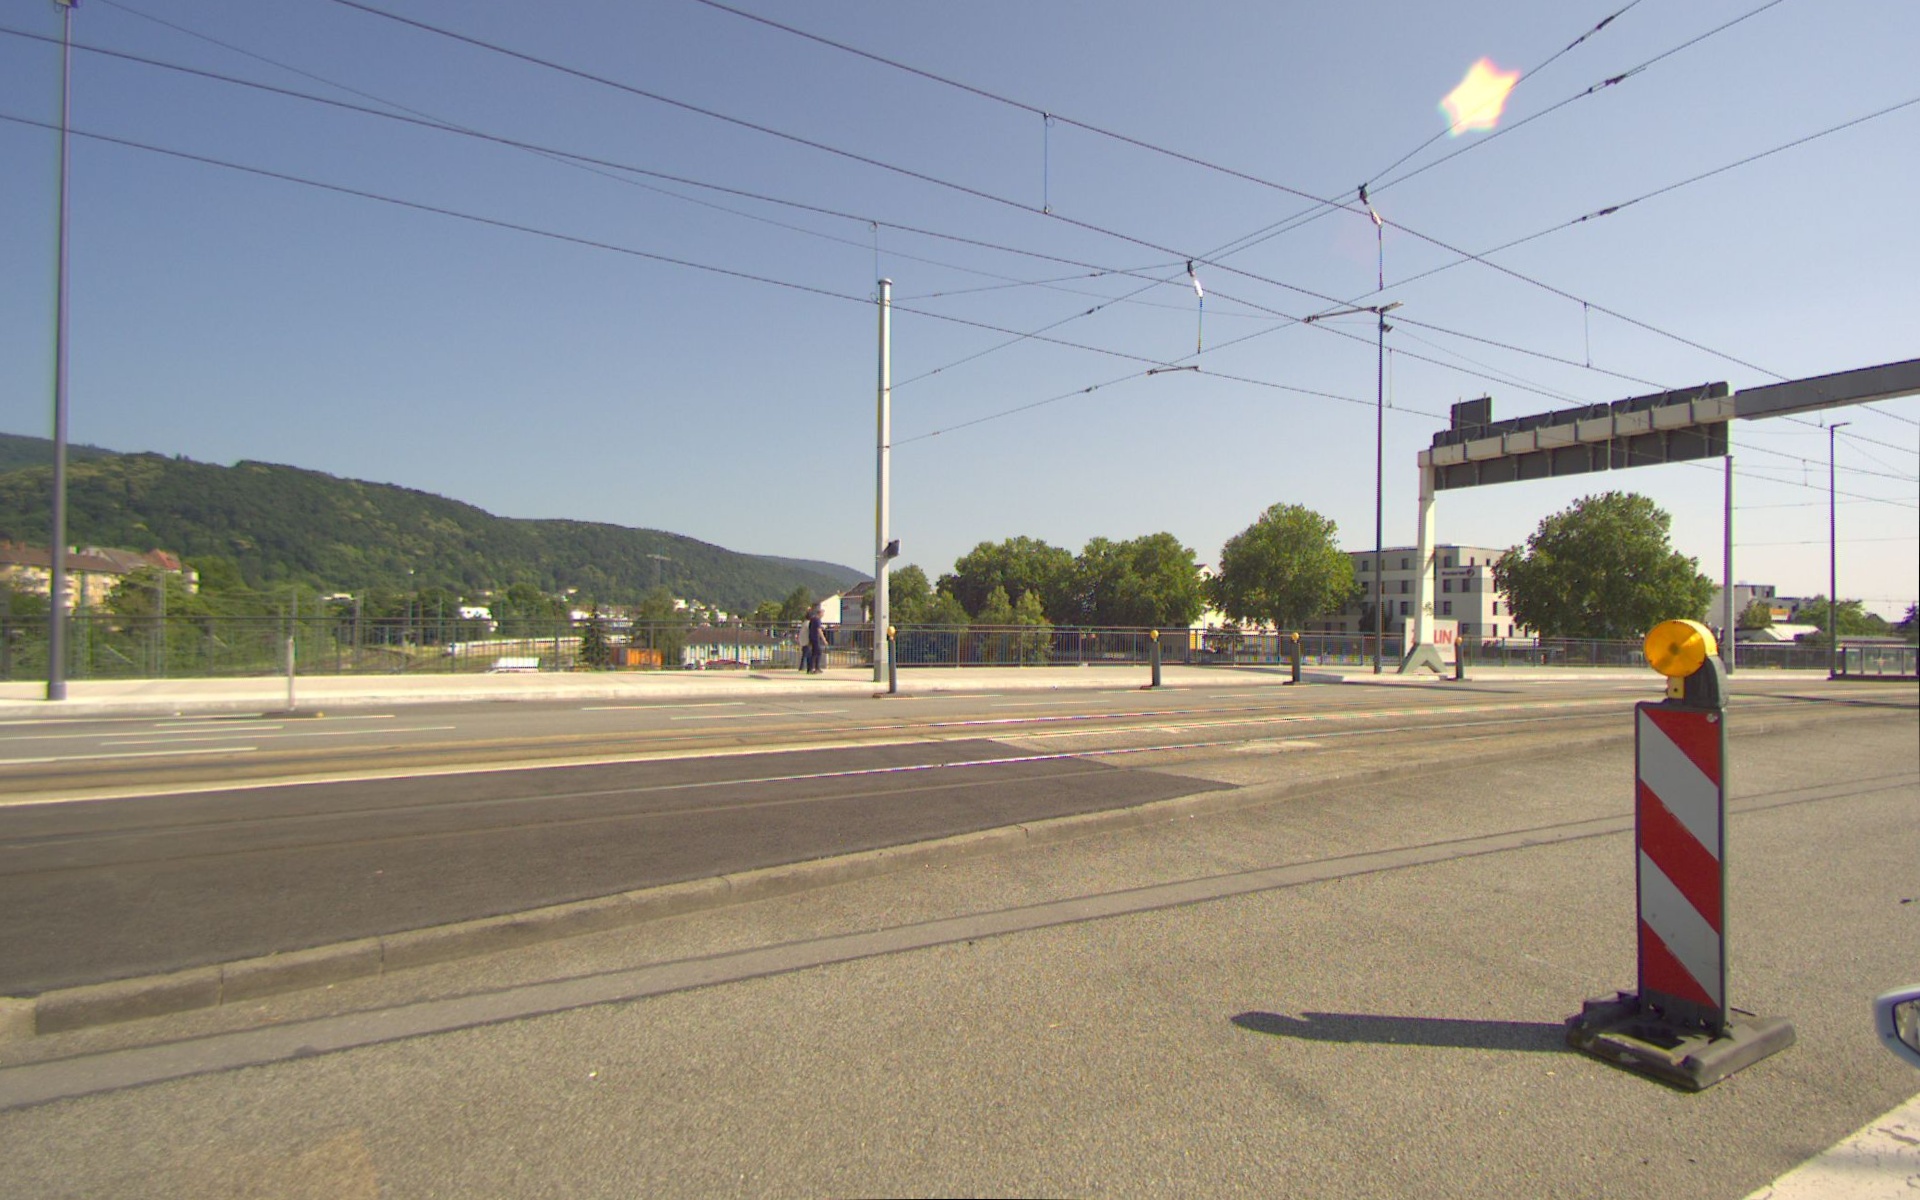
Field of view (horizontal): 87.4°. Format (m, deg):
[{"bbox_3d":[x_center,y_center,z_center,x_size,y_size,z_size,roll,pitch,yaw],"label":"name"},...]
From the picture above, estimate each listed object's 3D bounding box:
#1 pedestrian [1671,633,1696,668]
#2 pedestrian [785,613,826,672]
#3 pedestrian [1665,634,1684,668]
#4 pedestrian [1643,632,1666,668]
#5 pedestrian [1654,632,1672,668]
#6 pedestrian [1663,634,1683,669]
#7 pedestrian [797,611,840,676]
[{"bbox_3d":[35.368,2.462,49.094,0.722,1.709,0.750,1,-1,-27],"label":"pedestrian"},{"bbox_3d":[-4.226,1.155,27.394,0.878,1.565,0.716,1,1,-30],"label":"pedestrian"},{"bbox_3d":[35.907,2.566,50.496,0.763,1.709,0.502,1,-1,-27],"label":"pedestrian"},{"bbox_3d":[33.790,2.429,48.880,0.807,1.709,0.595,1,-1,-27],"label":"pedestrian"},{"bbox_3d":[34.552,2.455,49.364,0.760,1.709,0.382,1,-1,-27],"label":"pedestrian"},{"bbox_3d":[34.450,2.481,48.513,0.797,1.709,0.484,1,-1,-27],"label":"pedestrian"},{"bbox_3d":[-3.764,1.138,26.751,0.884,1.664,0.740,1,1,-30],"label":"pedestrian"}]
